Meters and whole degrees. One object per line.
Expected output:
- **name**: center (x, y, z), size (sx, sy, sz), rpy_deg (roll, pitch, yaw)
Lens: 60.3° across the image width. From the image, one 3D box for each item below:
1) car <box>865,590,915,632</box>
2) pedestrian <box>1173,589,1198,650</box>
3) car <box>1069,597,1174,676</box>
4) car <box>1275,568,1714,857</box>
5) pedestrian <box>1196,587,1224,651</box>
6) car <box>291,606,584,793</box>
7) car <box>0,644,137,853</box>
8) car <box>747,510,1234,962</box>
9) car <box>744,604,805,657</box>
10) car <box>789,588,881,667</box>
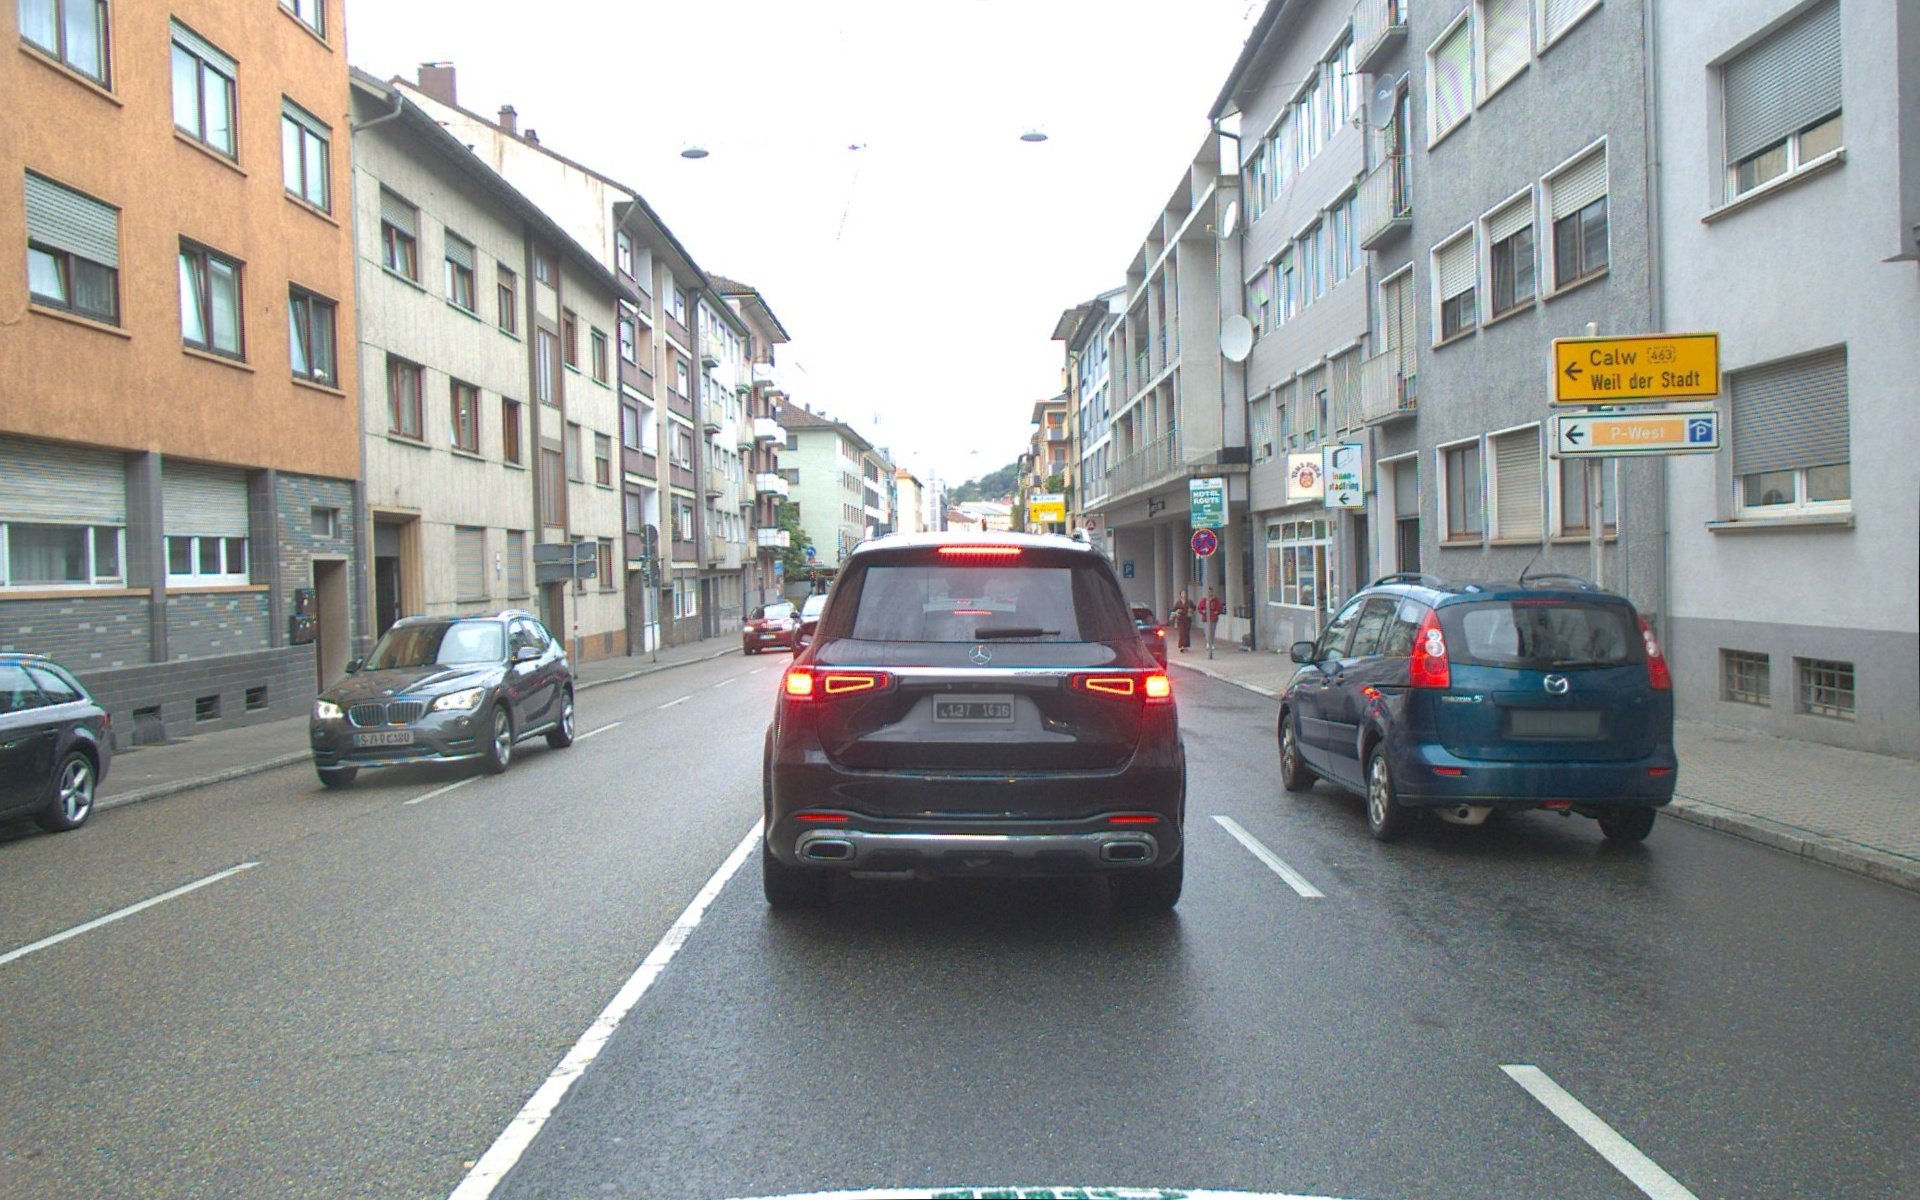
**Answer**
- **car**: center (-3.157, 0.478, 75.228), size (2.083, 1.750, 4.816), rpy_deg (-3, 0, -1)
- **pedestrian**: center (5.859, 0.503, 42.942), size (0.496, 1.526, 0.562), rpy_deg (-4, 0, 3)
- **car**: center (3.190, 0.679, 33.430), size (1.588, 1.455, 4.311), rpy_deg (1, 0, -1)
- **car**: center (3.453, 0.636, 11.550), size (1.770, 1.634, 4.212), rpy_deg (0, 0, 1)
- **pedestrian**: center (6.481, 0.480, 42.892), size (0.549, 1.606, 0.526), rpy_deg (-4, 0, -2)
- **car**: center (-5.162, 0.897, 16.937), size (1.669, 1.533, 4.158), rpy_deg (-4, 0, -1)
- **car**: center (-7.972, 1.127, 12.044), size (1.759, 1.463, 4.526), rpy_deg (1, 0, -1)
- **car**: center (0.085, 0.558, 8.844), size (1.984, 1.837, 3.999), rpy_deg (1, 0, -1)
- **car**: center (-6.208, 1.002, 55.788), size (1.762, 1.612, 4.313), rpy_deg (-3, 0, -4)
- **car**: center (-3.094, 0.648, 41.672), size (1.798, 1.757, 4.475), rpy_deg (-4, 0, 1)
